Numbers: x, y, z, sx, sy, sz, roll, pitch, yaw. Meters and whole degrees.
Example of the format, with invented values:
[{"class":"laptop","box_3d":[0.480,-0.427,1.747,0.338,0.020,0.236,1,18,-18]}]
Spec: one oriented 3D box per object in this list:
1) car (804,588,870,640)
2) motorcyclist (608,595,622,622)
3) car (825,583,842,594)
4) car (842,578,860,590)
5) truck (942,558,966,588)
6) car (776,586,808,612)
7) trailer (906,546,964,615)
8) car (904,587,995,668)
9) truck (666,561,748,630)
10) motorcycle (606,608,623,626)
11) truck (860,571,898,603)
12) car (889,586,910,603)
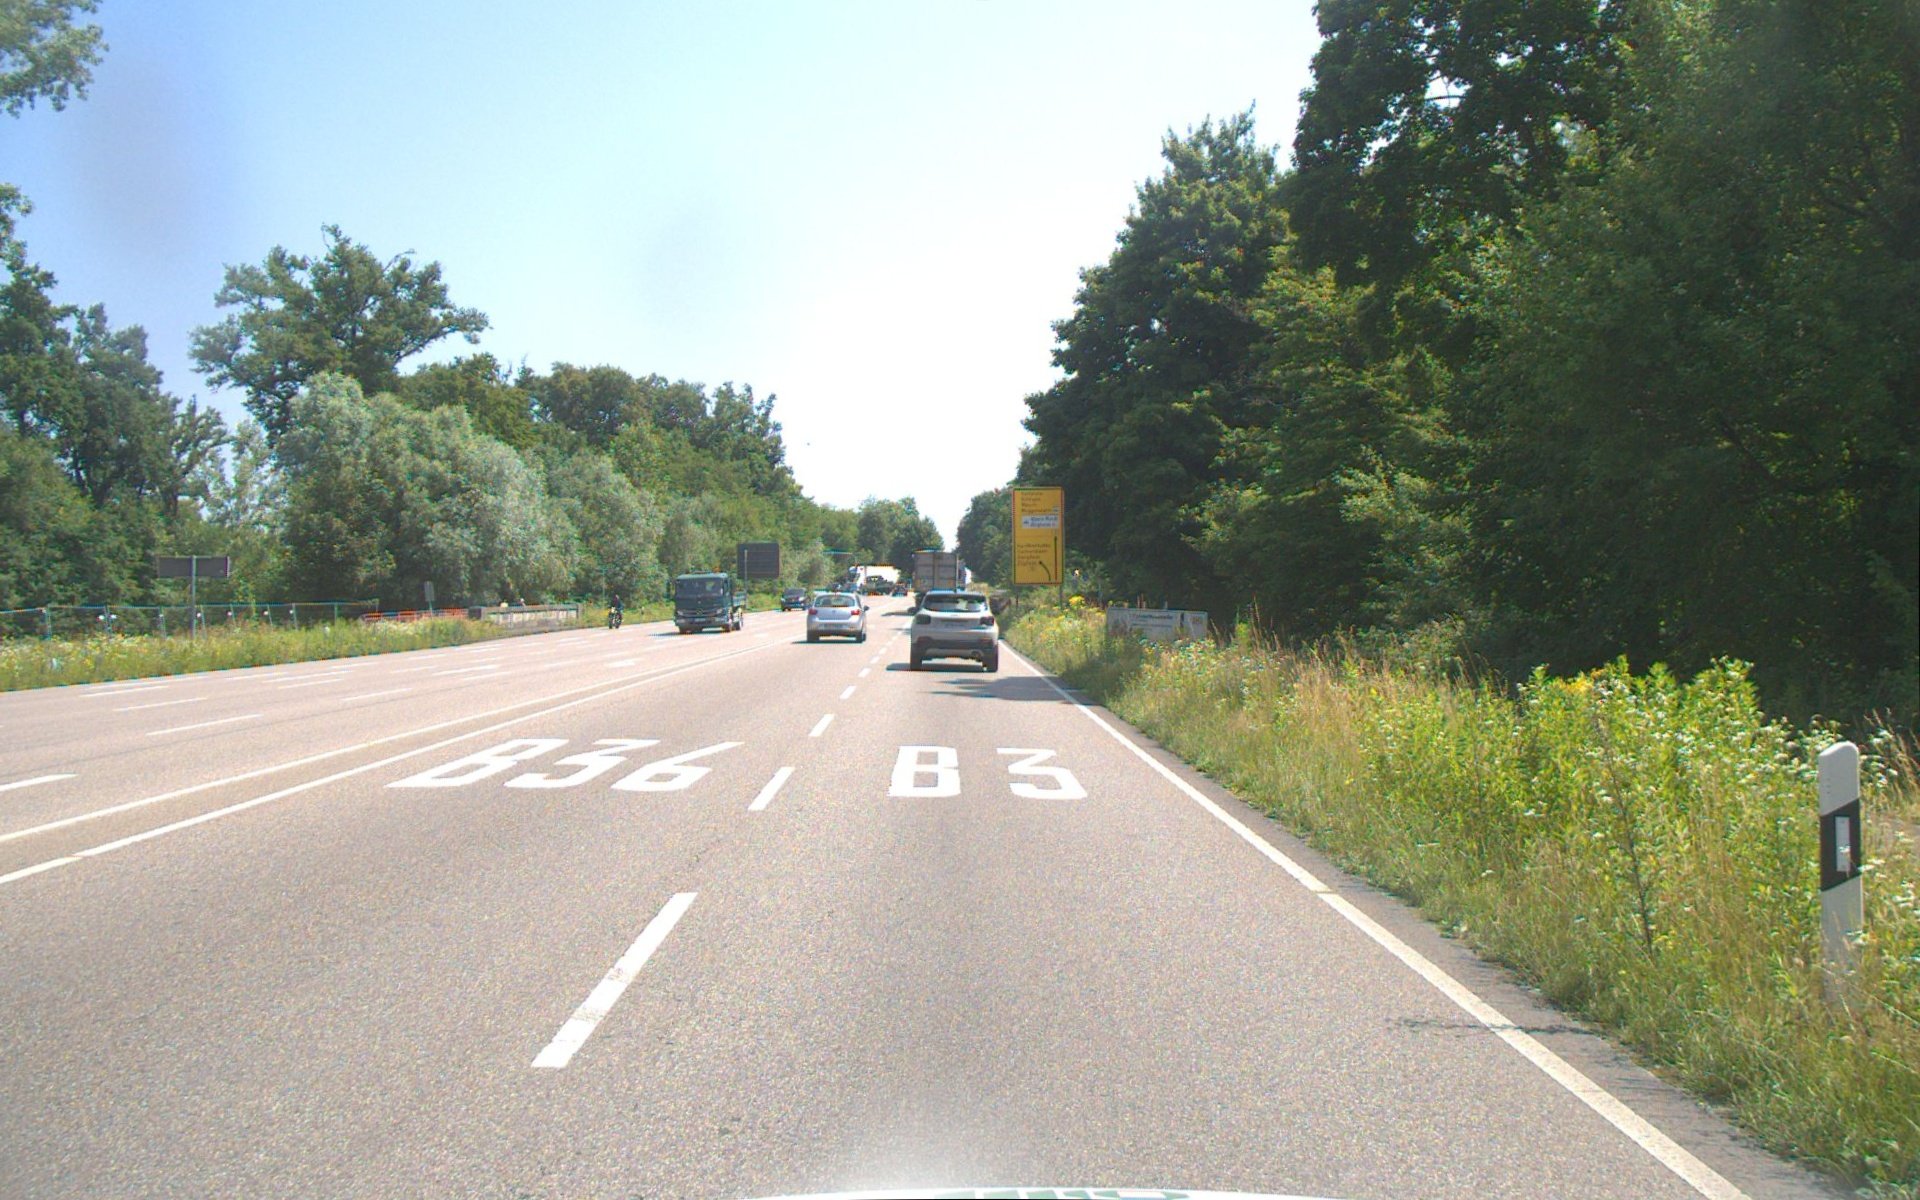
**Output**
[{"class":"car","box_3d":[-3.610,0.385,49.025,1.631,1.455,3.828,1,0,0]},{"class":"motorcyclist","box_3d":[-17.812,0.446,85.314,0.566,1.377,0.754,-1,0,-3]},{"class":"car","box_3d":[-19.513,-1.808,255.127,1.960,1.613,3.985,1,0,-14]},{"class":"car","box_3d":[-16.140,-2.362,244.452,1.960,1.613,3.985,1,0,-14]},{"class":"truck","box_3d":[-0.920,-3.898,242.846,3.426,4.261,10.782,1,0,-1]},{"class":"car","box_3d":[-13.113,-0.078,129.453,1.953,1.914,4.960,-1,0,0]},{"class":"trailer","box_3d":[-1.477,-1.149,102.658,3.313,4.058,10.804,1,0,0]},{"class":"car","box_3d":[-0.189,0.510,33.605,1.731,1.561,4.000,0,0,0]},{"class":"truck","box_3d":[-10.952,-0.229,72.180,2.404,2.702,6.491,-3,1,0]},{"class":"motorcycle","box_3d":[-17.799,0.870,85.234,0.506,0.908,1.909,-1,0,-2]},{"class":"truck","box_3d":[-11.260,-1.790,228.920,3.583,4.177,9.476,-2,0,-13]},{"class":"car","box_3d":[-7.675,-0.711,210.144,1.958,2.049,4.541,-2,0,-11]}]
